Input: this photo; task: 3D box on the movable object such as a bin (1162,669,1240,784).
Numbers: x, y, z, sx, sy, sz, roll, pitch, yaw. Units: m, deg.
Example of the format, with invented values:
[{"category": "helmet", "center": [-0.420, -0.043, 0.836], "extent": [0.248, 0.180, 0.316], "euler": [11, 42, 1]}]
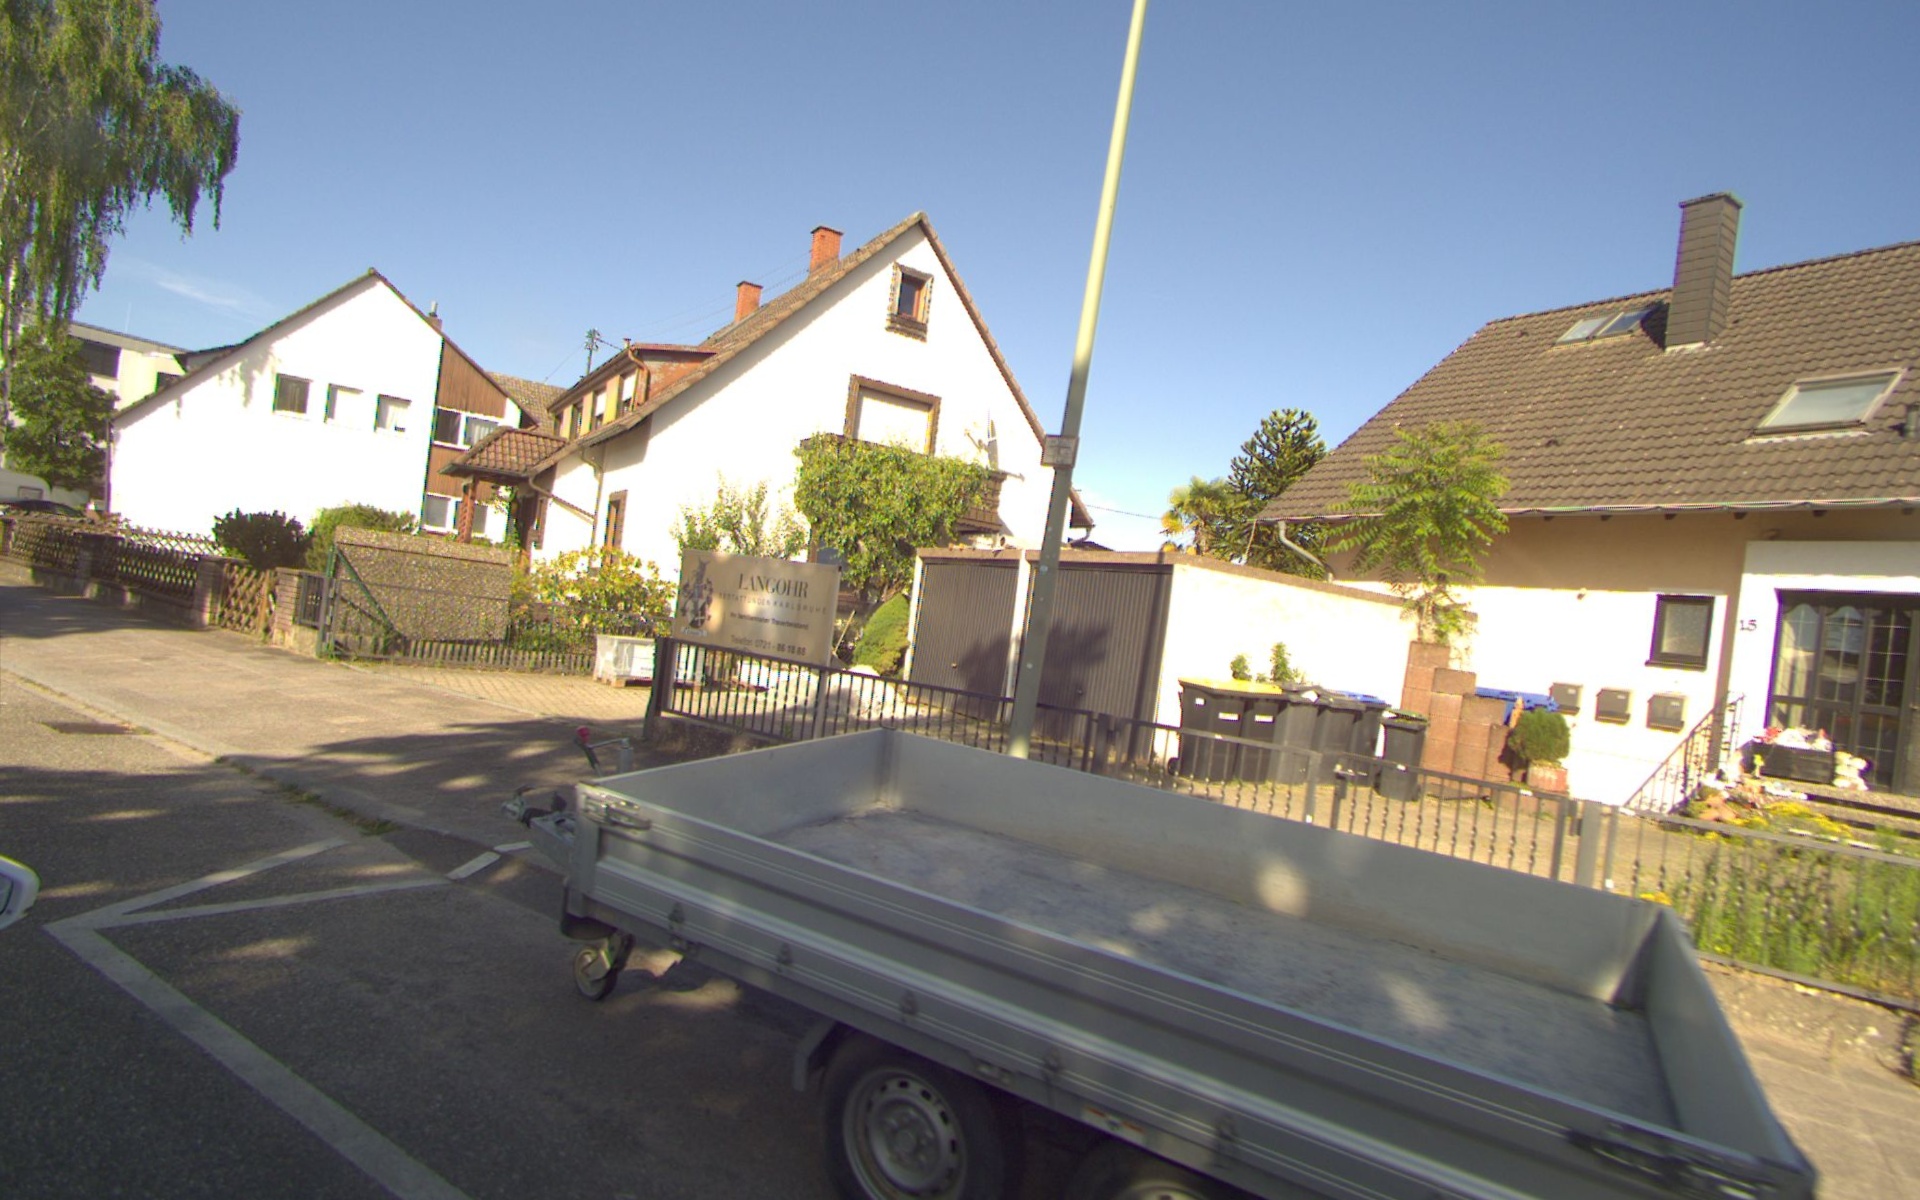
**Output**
[{"category": "movable object such as a bin", "center": [2.523, 1.321, 10.545], "extent": [0.499, 1.109, 0.454], "euler": [7, 0, -30]}]

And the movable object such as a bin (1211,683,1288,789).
[{"category": "movable object such as a bin", "center": [3.098, 1.451, 10.776], "extent": [0.499, 1.038, 0.454], "euler": [7, 0, -30]}]

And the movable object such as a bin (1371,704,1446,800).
[{"category": "movable object such as a bin", "center": [4.981, 1.685, 11.176], "extent": [0.499, 0.976, 0.454], "euler": [7, 0, -30]}]

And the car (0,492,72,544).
[{"category": "car", "center": [-35.829, -3.192, 37.329], "extent": [1.776, 1.637, 4.003], "euler": [7, -1, 9]}]

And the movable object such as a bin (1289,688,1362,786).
[{"category": "movable object such as a bin", "center": [4.133, 1.550, 11.388], "extent": [0.499, 1.011, 0.454], "euler": [7, 0, -30]}]

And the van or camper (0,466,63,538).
[{"category": "van or camper", "center": [-38.330, -4.059, 38.414], "extent": [2.246, 2.571, 5.837], "euler": [7, -1, 8]}]

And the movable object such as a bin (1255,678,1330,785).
[{"category": "movable object such as a bin", "center": [3.668, 1.452, 11.115], "extent": [0.499, 1.091, 0.454], "euler": [7, 0, -30]}]

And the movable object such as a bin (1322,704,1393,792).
[{"category": "movable object such as a bin", "center": [4.598, 1.711, 11.642], "extent": [0.499, 0.923, 0.454], "euler": [7, 0, -30]}]

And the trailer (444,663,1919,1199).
[{"category": "trailer", "center": [0.308, 1.023, 2.852], "extent": [3.091, 1.232, 1.631], "euler": [7, -1, 29]}]
